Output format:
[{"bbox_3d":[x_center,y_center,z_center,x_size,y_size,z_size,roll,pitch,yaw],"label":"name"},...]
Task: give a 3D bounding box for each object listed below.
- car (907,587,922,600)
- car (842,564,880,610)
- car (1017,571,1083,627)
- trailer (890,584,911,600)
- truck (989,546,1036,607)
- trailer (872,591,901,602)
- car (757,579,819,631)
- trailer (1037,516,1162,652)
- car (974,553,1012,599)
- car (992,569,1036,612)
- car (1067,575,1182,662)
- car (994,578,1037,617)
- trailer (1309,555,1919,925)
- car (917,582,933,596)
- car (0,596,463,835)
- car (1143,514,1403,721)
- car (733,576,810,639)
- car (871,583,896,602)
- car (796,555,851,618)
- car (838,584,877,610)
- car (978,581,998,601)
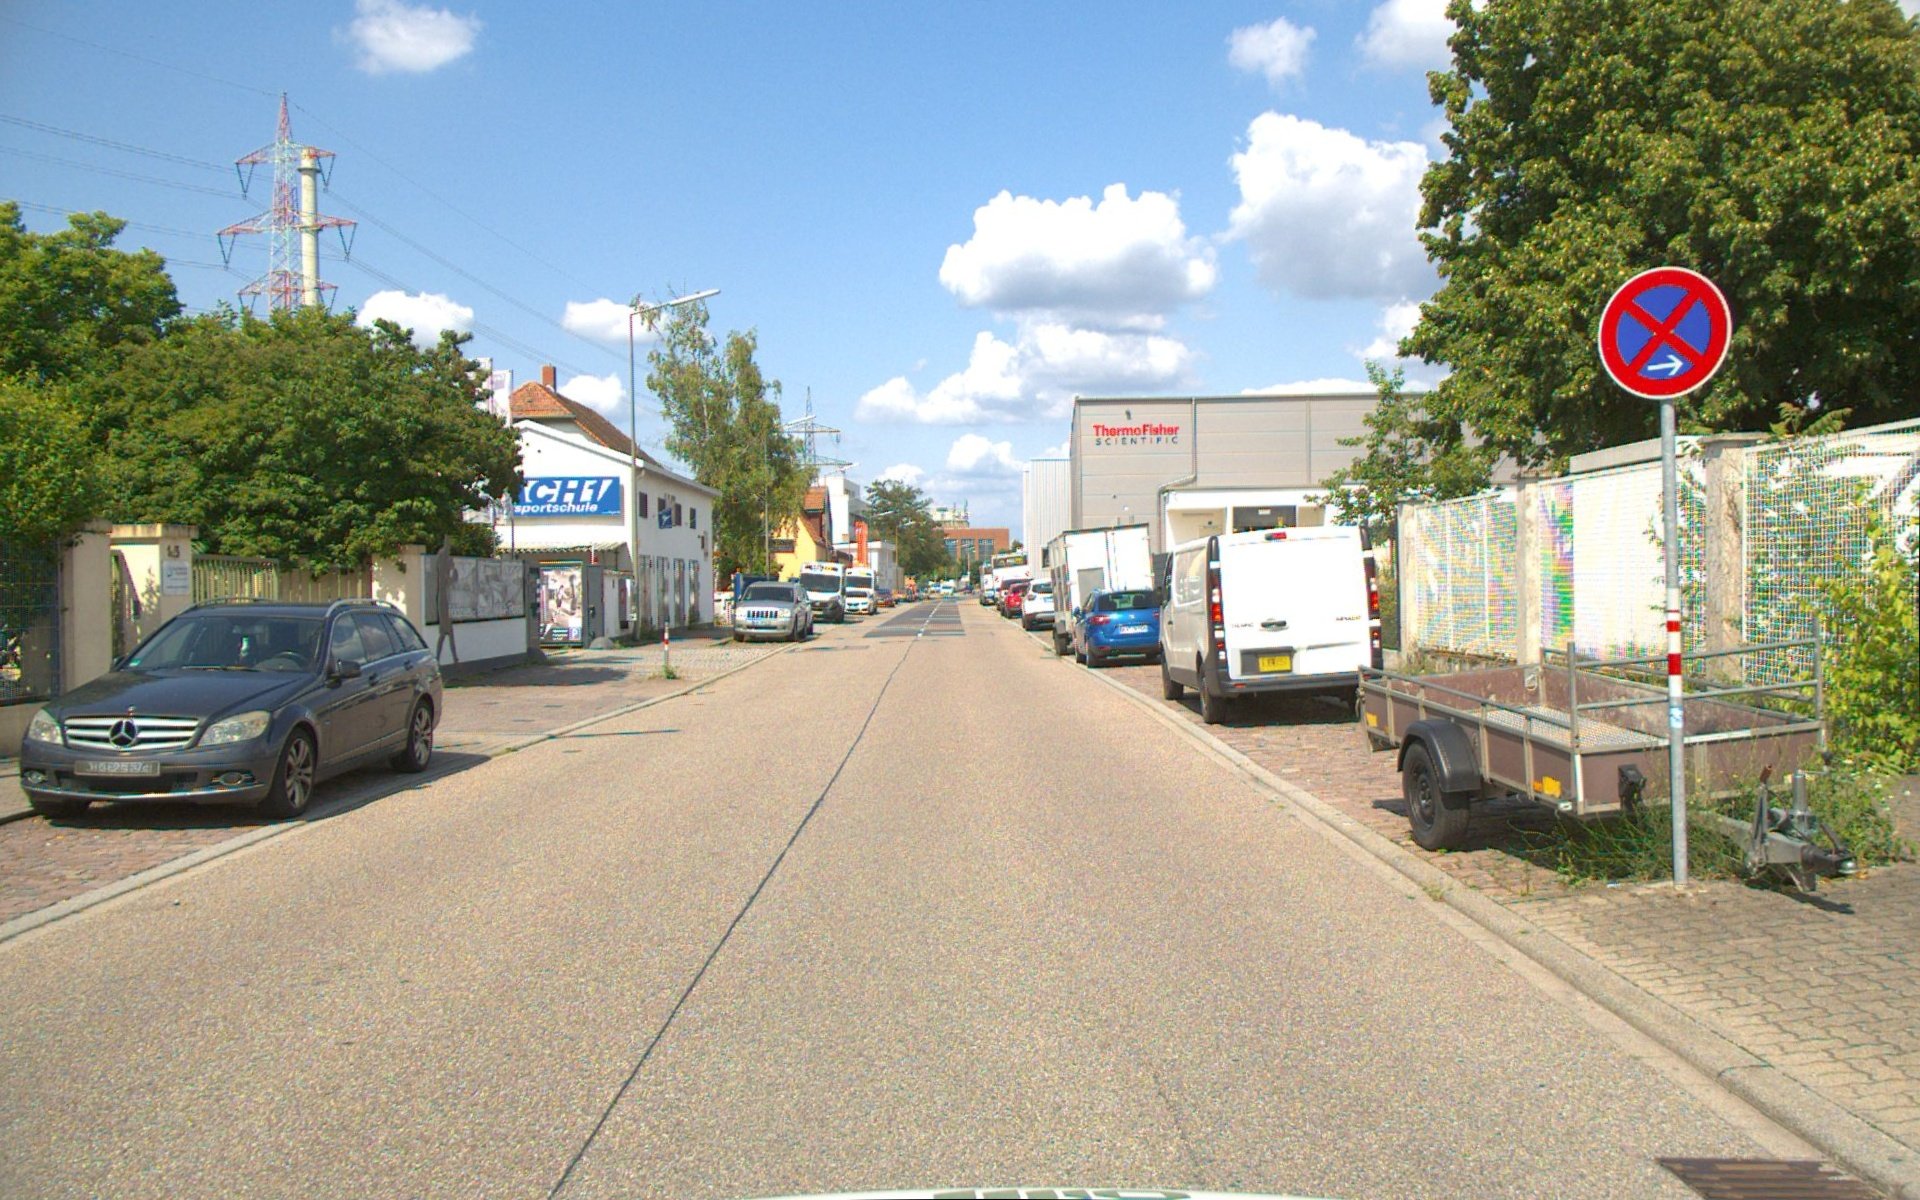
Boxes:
[{"bbox_3d":[-5.264,-0.715,191.954,1.634,1.473,3.453,1,0,0],"label":"car"},{"bbox_3d":[-5.894,-0.755,99.528,1.985,2.606,6.838,1,0,-1],"label":"car"},{"bbox_3d":[3.064,-0.073,57.150,1.896,1.723,4.679,-4,1,0],"label":"car"},{"bbox_3d":[-6.118,-0.836,170.869,1.953,1.584,4.253,-1,0,0],"label":"trailer"},{"bbox_3d":[3.181,-1.400,101.246,2.409,3.349,6.818,-6,0,0],"label":"truck"},{"bbox_3d":[-6.644,-0.290,149.841,2.314,0.908,5.568,1,0,0],"label":"trailer"},{"bbox_3d":[-5.657,0.145,54.718,1.576,1.601,3.010,3,1,2],"label":"car"},{"bbox_3d":[3.144,-0.352,38.674,2.160,2.784,6.220,-4,0,-1],"label":"trailer"},{"bbox_3d":[2.629,-1.891,132.303,2.341,3.421,6.641,-4,0,-3],"label":"car"},{"bbox_3d":[2.712,-0.499,83.735,2.012,1.936,5.147,-5,0,1],"label":"car"},{"bbox_3d":[3.110,0.337,32.029,1.656,1.486,4.069,-3,0,-1],"label":"car"},{"bbox_3d":[2.527,-0.117,75.853,1.669,1.652,4.092,-4,0,-1],"label":"car"},{"bbox_3d":[3.504,0.578,9.197,1.715,1.442,4.544,-4,0,-5],"label":"trailer"},{"bbox_3d":[-4.433,-1.381,209.915,1.882,1.825,4.001,1,0,2],"label":"car"},{"bbox_3d":[-5.324,0.725,12.656,1.768,1.443,4.495,1,0,-2],"label":"car"},{"bbox_3d":[3.500,0.160,19.668,1.953,2.049,5.649,-1,0,0],"label":"car"},{"bbox_3d":[-5.593,0.191,49.562,1.754,1.749,4.751,1,0,0],"label":"car"},{"bbox_3d":[-6.052,-0.564,130.981,1.726,1.473,4.741,1,0,0],"label":"car"},{"bbox_3d":[-5.927,-0.579,72.470,1.989,2.602,6.654,1,0,-2],"label":"car"},{"bbox_3d":[-5.688,-0.158,92.221,1.759,1.422,4.502,1,0,1],"label":"car"},{"bbox_3d":[2.461,-0.766,144.863,1.732,1.640,3.873,-1,0,1],"label":"car"}]
